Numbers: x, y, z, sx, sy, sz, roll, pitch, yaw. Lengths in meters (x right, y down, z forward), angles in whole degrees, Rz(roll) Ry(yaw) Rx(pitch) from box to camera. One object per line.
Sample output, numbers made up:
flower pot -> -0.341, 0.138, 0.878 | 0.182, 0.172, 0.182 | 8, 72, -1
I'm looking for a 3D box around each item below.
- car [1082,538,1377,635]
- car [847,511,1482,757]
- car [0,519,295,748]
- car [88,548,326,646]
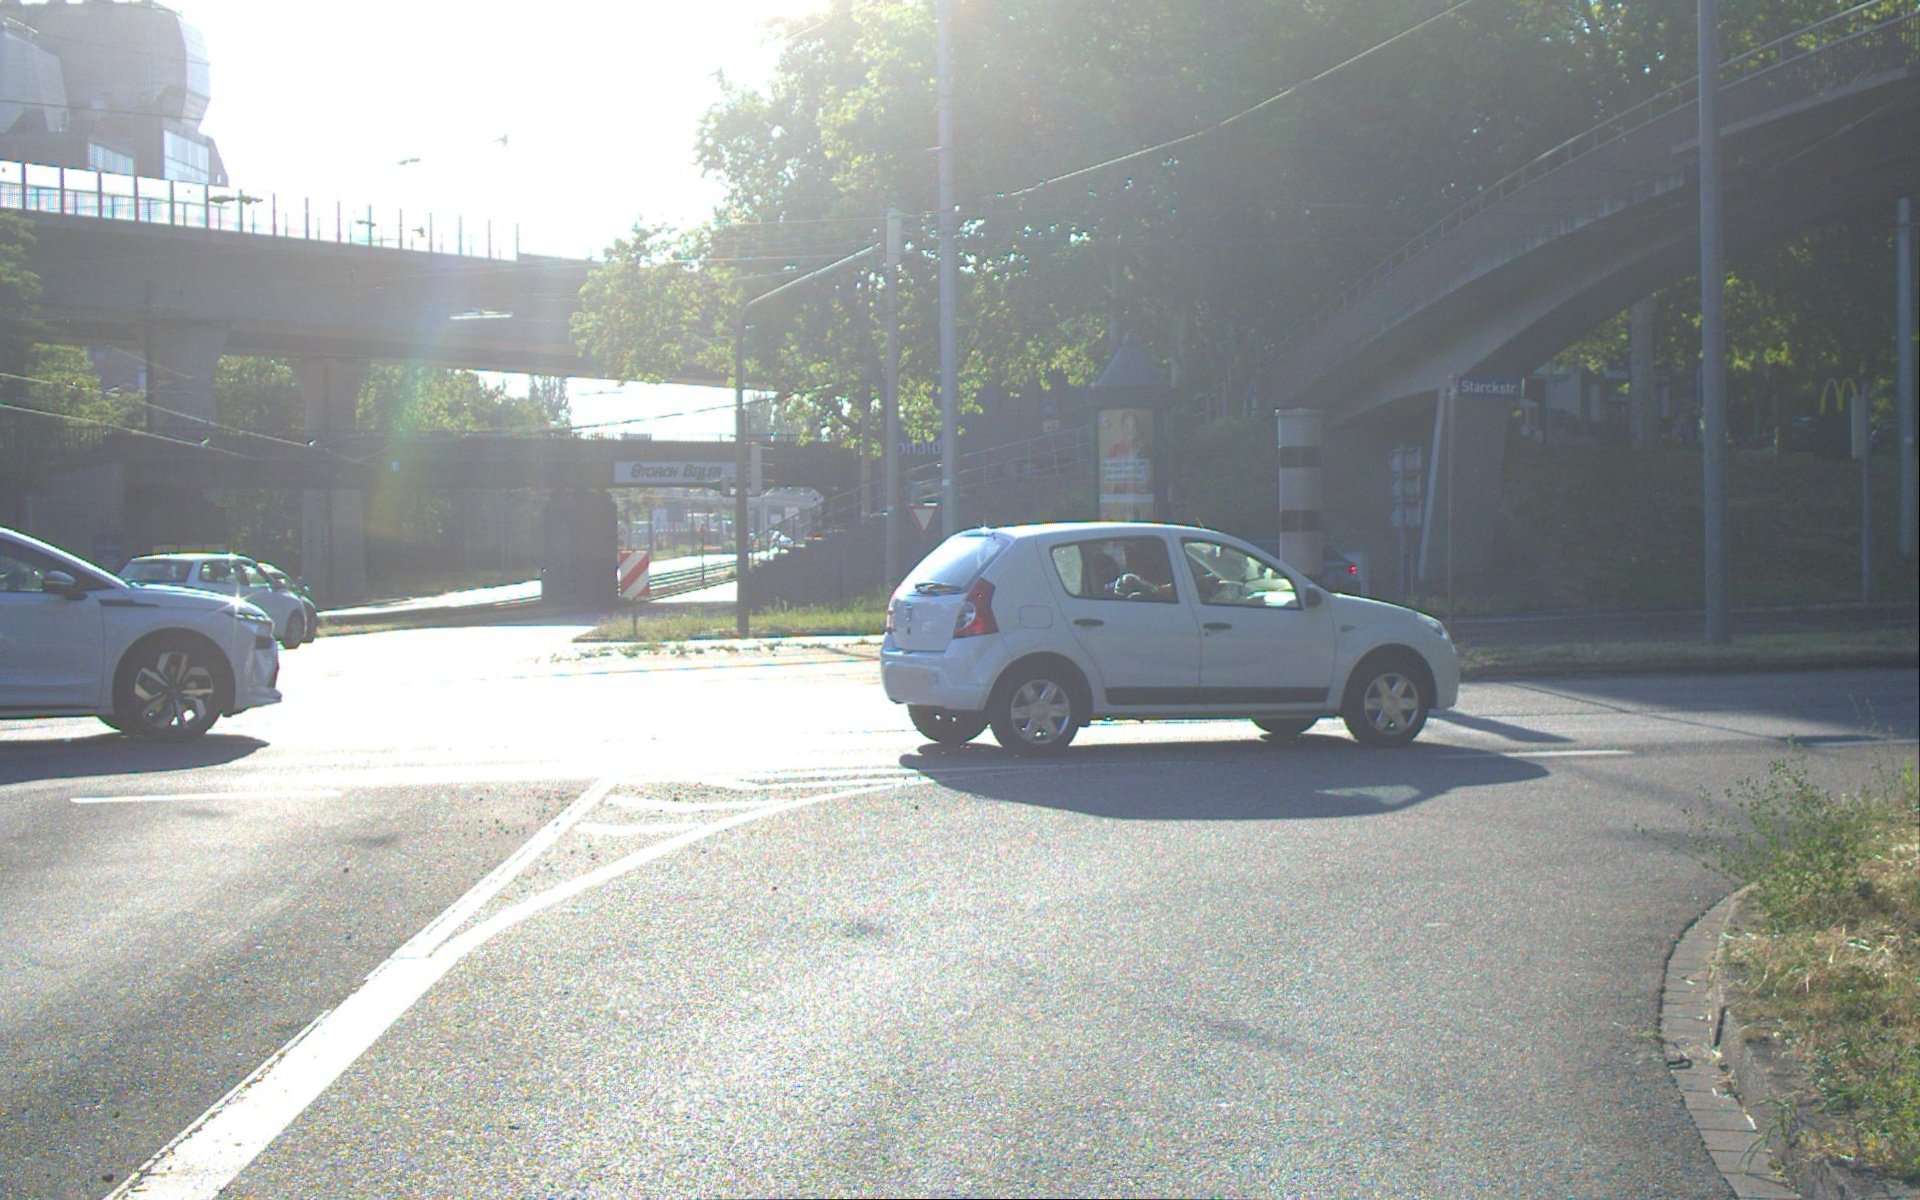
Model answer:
car -> 4.470, -0.223, 57.116 | 4.574, 1.569, 1.694 | 0, 1, -17
car -> 1.390, 0.198, 23.451 | 3.986, 1.569, 1.694 | 0, 1, -22
car -> -7.516, 0.220, 24.208 | 5.348, 1.569, 1.741 | 0, 1, -21
car -> -11.290, -0.075, 51.826 | 1.666, 1.400, 4.193 | 1, 1, 17
